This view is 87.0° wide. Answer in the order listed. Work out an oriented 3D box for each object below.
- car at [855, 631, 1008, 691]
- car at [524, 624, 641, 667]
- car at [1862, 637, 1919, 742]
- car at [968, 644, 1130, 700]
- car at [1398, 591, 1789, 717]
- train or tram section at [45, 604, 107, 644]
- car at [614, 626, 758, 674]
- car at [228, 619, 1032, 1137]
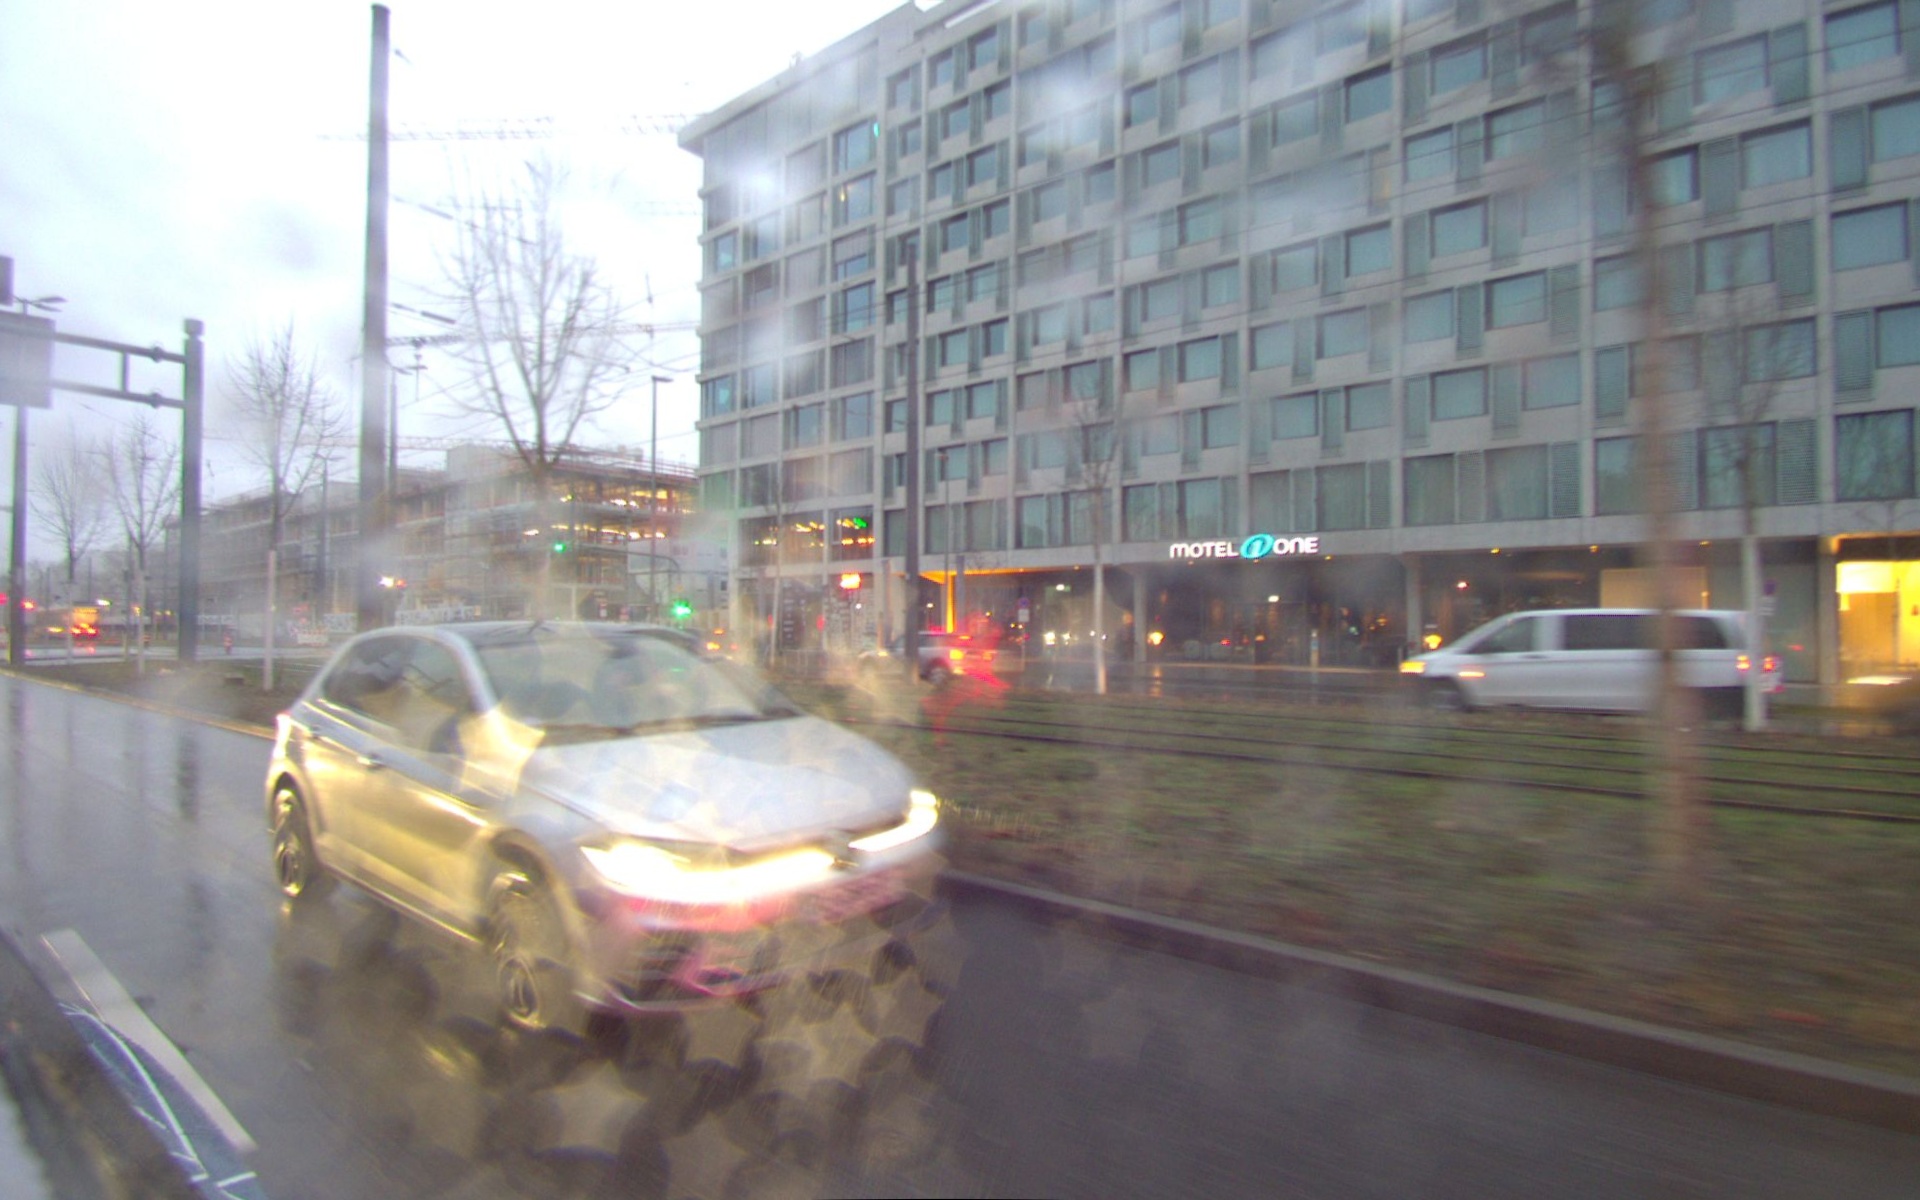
[{"bbox_3d":[-0.783,1.536,26.328,3.704,1.442,1.876,-1,-3,40],"label":"car"},{"bbox_3d":[-14.188,1.665,37.879,5.032,1.479,1.972,-1,-2,42],"label":"car"},{"bbox_3d":[18.571,1.555,17.379,4.527,1.827,1.876,-1,-2,41],"label":"car"},{"bbox_3d":[2.645,2.149,30.956,4.790,1.528,1.876,-1,-2,41],"label":"car"},{"bbox_3d":[10.018,0.818,16.306,5.114,1.732,1.876,-1,-3,40],"label":"car"},{"bbox_3d":[-82.482,2.281,94.275,14.266,3.513,2.924,-2,-3,43],"label":"train or tram section"},{"bbox_3d":[-9.080,1.620,33.560,4.425,1.508,1.983,-1,-2,26],"label":"car"},{"bbox_3d":[-1.784,0.792,4.716,3.978,1.381,1.745,-1,-1,40],"label":"car"}]
